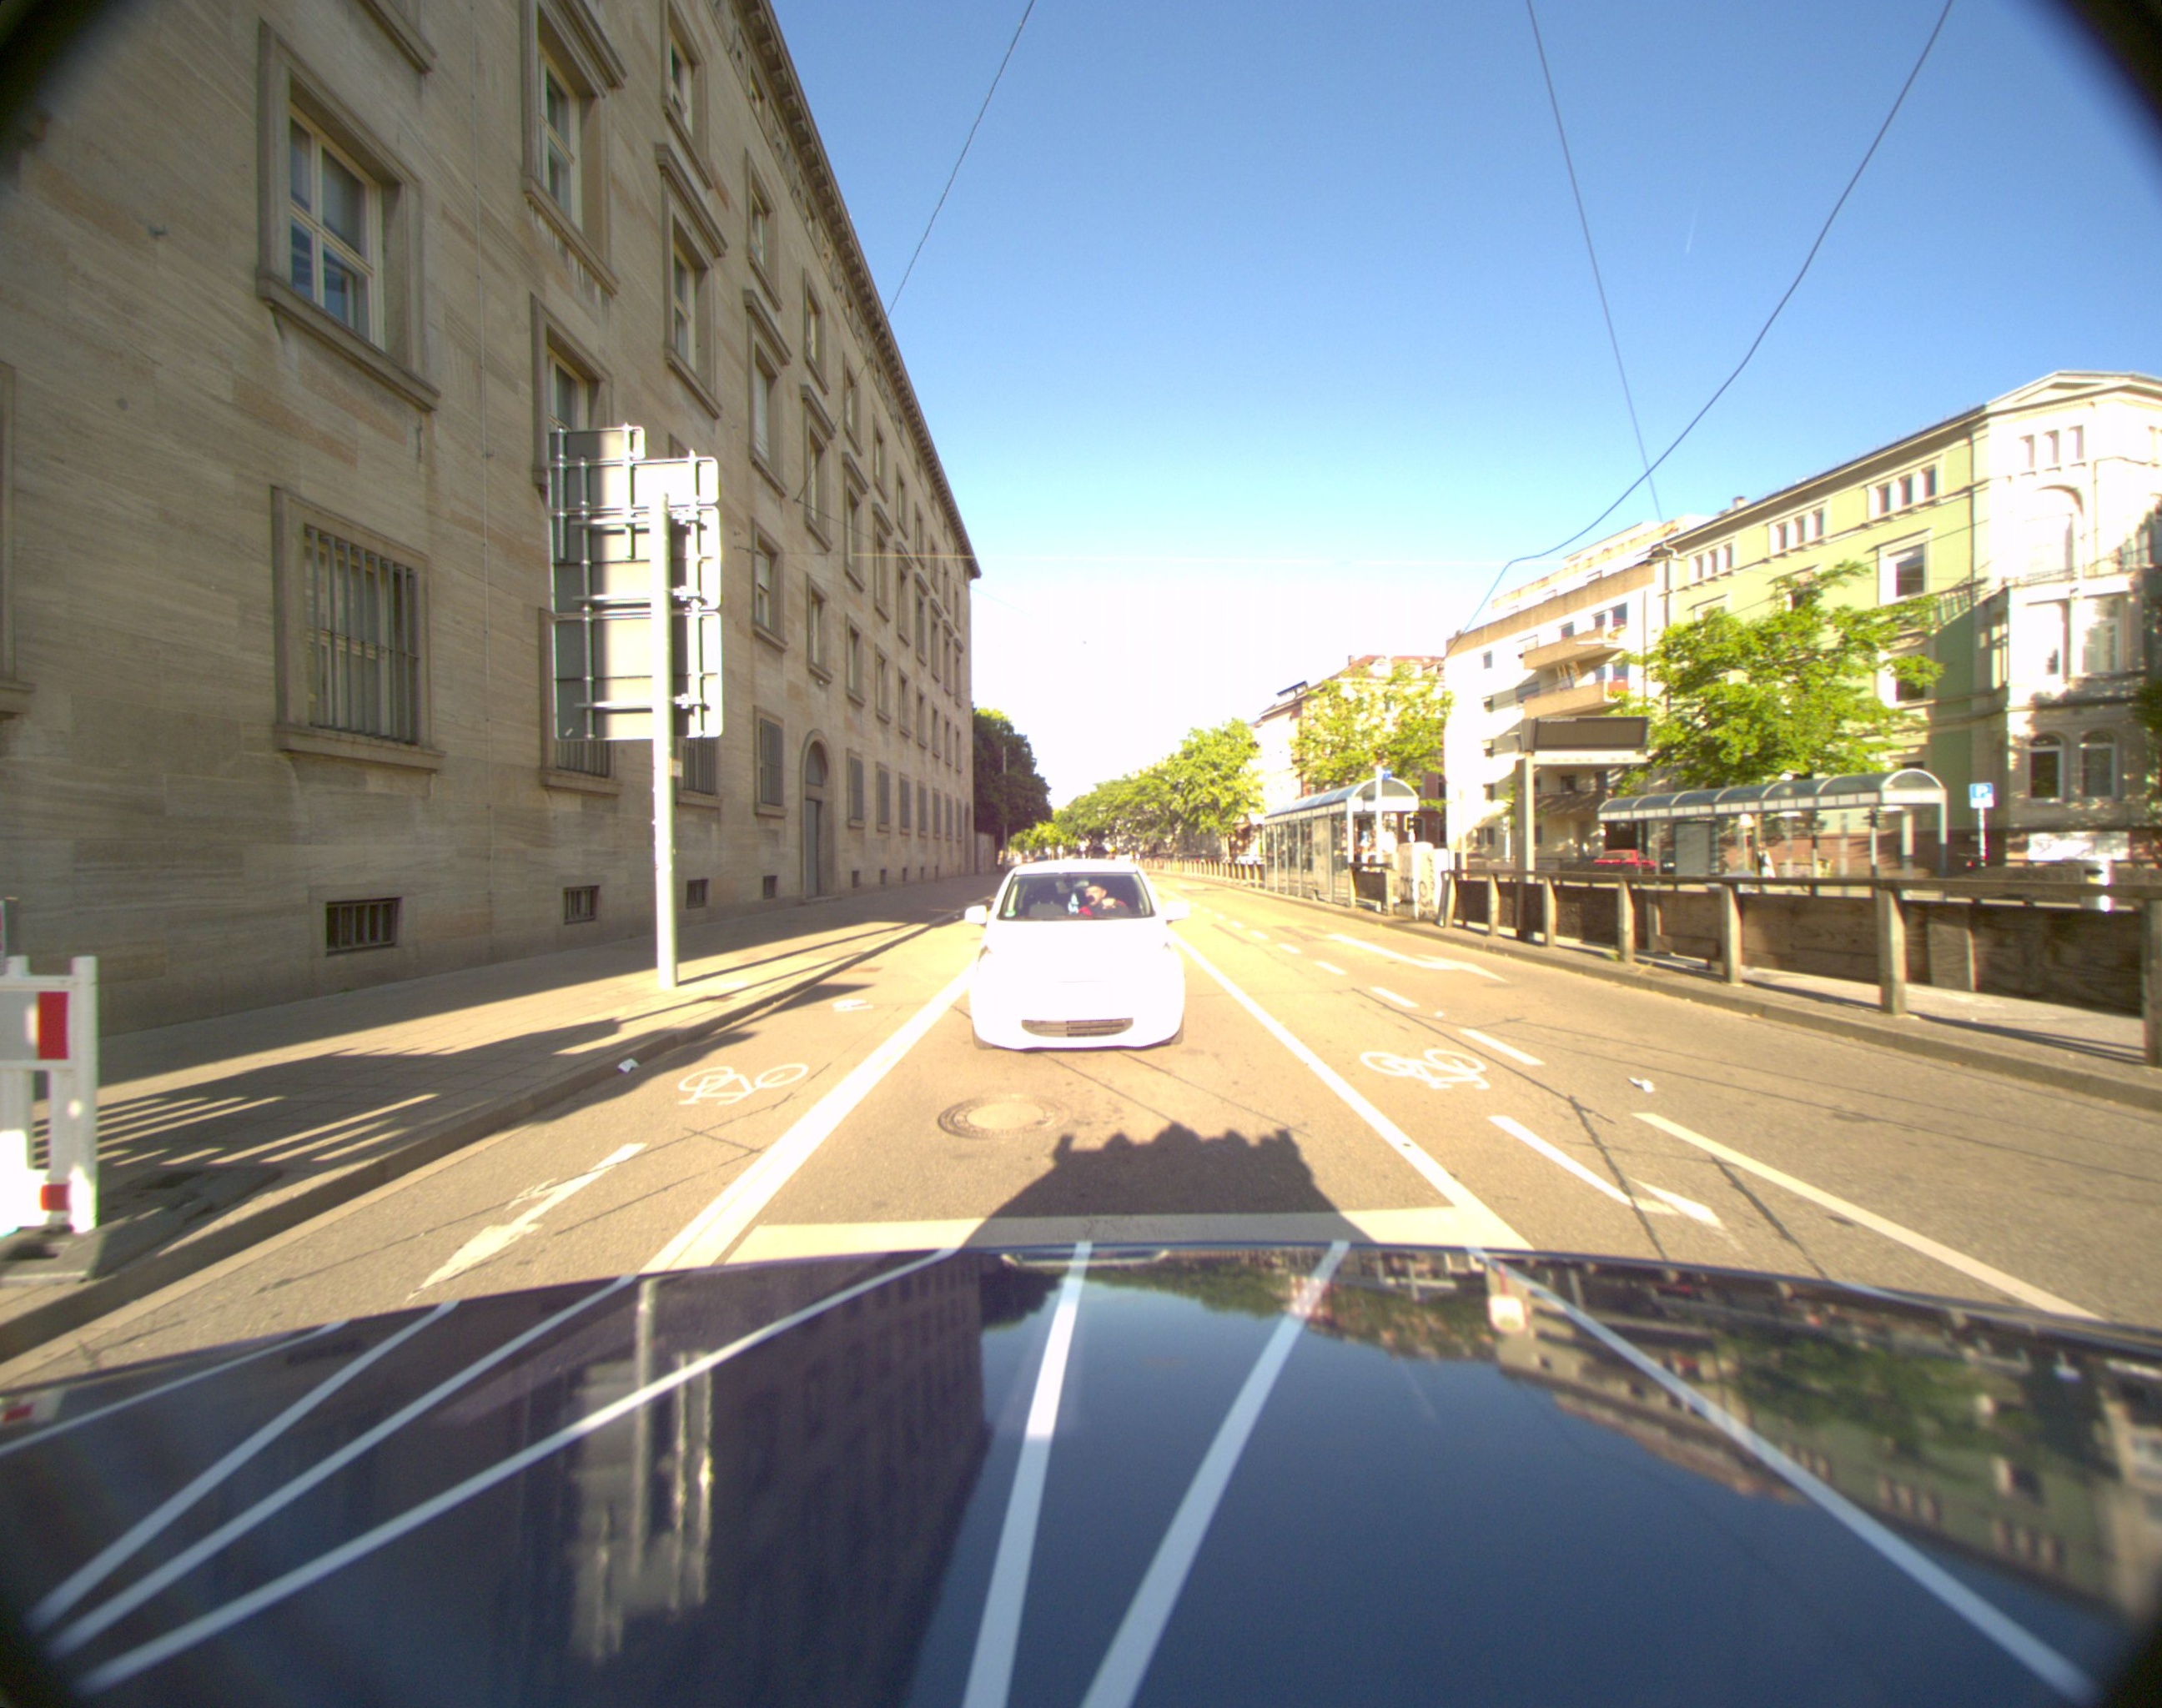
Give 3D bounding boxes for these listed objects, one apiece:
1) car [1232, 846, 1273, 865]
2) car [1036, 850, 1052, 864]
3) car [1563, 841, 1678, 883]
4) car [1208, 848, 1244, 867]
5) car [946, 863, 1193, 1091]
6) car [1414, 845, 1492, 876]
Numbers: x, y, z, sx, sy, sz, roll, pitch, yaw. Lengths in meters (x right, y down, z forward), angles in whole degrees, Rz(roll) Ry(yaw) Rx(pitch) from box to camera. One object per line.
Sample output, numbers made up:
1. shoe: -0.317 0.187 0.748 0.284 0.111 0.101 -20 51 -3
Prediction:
1. car: 16.210 0.131 71.802 4.007 1.576 1.736 -3 1 -43
2. car: -5.425 0.414 110.599 1.760 2.002 3.702 -1 0 -12
3. car: 22.784 0.326 32.140 4.001 1.576 1.738 -2 1 -14
4. car: 13.400 0.319 70.476 1.741 1.576 3.995 -2 1 -12
5. car: -0.128 0.884 7.233 1.679 1.455 3.764 -2 1 -2
6. car: 20.638 0.354 42.343 1.741 1.576 3.995 -2 1 -12
